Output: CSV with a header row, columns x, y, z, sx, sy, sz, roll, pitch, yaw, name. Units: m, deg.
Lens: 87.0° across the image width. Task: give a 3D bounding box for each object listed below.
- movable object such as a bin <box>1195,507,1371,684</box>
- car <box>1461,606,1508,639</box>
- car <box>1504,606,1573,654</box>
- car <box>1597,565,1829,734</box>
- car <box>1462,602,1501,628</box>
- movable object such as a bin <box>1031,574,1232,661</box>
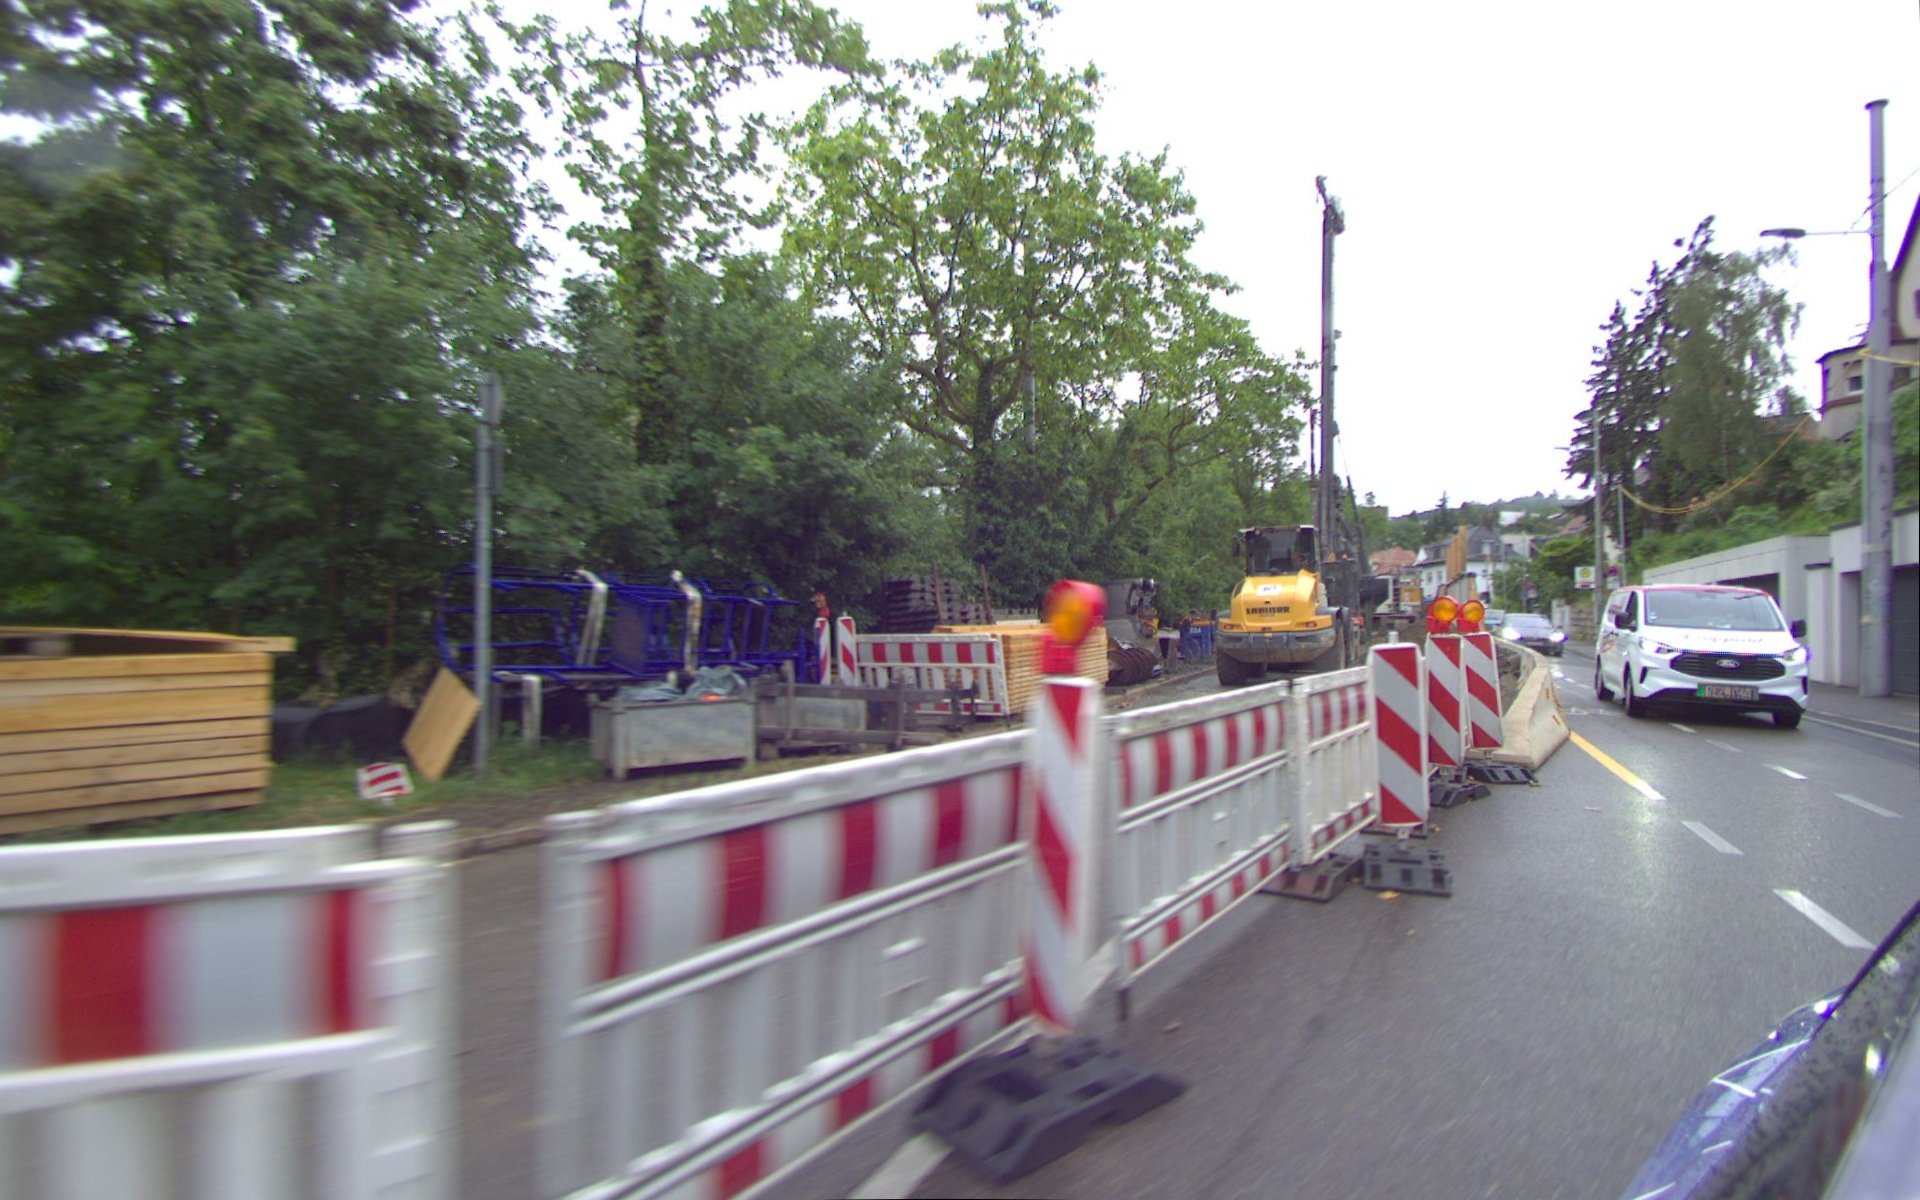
x,y,z,sx,sy,sz,roll,pitch,yaw,name
6.643,-0.105,20.422,2.512,3.106,4.809,0,0,29,movable object such as a bin
27.234,1.177,52.666,1.979,1.605,3.963,-2,-2,26,car
20.504,1.048,36.016,1.981,1.605,3.959,-2,-2,28,car
11.137,0.633,15.372,1.982,2.038,4.899,4,1,28,car
34.138,1.010,66.321,1.978,1.605,3.966,-2,-2,24,car
4.389,0.394,25.880,4.518,2.026,2.510,0,0,29,movable object such as a bin
